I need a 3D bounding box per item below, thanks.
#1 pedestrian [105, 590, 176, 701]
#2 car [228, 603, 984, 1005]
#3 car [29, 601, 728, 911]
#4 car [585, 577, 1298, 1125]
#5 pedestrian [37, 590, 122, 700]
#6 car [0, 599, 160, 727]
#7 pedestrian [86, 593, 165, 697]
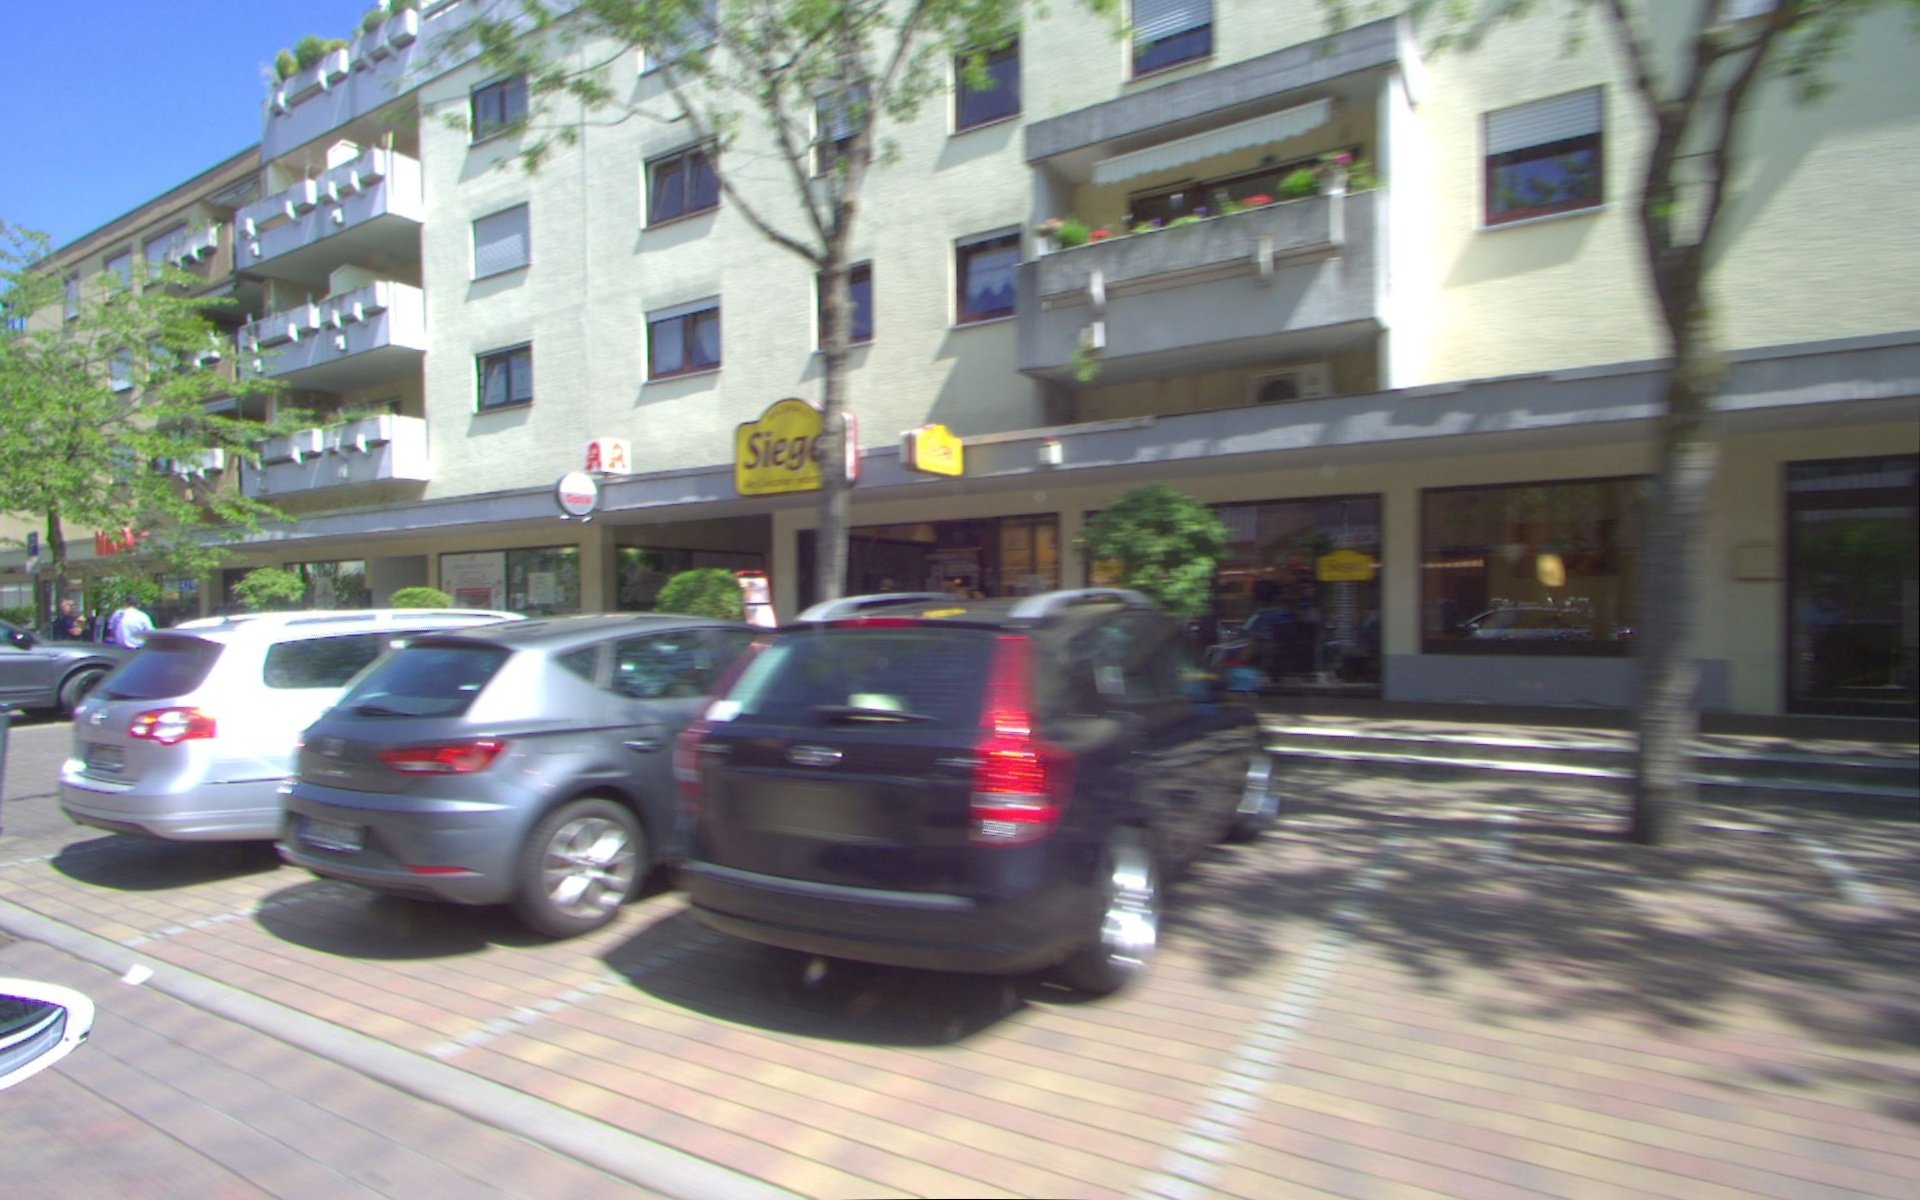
[{"bbox_3d":[-13.843,0.745,16.918,0.798,1.811,0.833,1,1,44],"label":"pedestrian"},{"bbox_3d":[-1.672,0.790,5.889,1.693,1.509,3.924,-1,0,36],"label":"car"},{"bbox_3d":[-3.840,0.819,7.384,1.734,1.595,4.144,0,0,32],"label":"car"},{"bbox_3d":[0.408,0.729,5.155,1.916,1.561,4.179,-1,0,27],"label":"car"},{"bbox_3d":[-14.978,0.740,17.039,0.793,1.811,0.837,1,1,25],"label":"pedestrian"},{"bbox_3d":[-13.293,0.834,13.025,1.535,1.637,4.237,0,0,30],"label":"car"},{"bbox_3d":[-15.048,0.788,18.067,0.793,1.811,0.837,1,1,25],"label":"pedestrian"}]
